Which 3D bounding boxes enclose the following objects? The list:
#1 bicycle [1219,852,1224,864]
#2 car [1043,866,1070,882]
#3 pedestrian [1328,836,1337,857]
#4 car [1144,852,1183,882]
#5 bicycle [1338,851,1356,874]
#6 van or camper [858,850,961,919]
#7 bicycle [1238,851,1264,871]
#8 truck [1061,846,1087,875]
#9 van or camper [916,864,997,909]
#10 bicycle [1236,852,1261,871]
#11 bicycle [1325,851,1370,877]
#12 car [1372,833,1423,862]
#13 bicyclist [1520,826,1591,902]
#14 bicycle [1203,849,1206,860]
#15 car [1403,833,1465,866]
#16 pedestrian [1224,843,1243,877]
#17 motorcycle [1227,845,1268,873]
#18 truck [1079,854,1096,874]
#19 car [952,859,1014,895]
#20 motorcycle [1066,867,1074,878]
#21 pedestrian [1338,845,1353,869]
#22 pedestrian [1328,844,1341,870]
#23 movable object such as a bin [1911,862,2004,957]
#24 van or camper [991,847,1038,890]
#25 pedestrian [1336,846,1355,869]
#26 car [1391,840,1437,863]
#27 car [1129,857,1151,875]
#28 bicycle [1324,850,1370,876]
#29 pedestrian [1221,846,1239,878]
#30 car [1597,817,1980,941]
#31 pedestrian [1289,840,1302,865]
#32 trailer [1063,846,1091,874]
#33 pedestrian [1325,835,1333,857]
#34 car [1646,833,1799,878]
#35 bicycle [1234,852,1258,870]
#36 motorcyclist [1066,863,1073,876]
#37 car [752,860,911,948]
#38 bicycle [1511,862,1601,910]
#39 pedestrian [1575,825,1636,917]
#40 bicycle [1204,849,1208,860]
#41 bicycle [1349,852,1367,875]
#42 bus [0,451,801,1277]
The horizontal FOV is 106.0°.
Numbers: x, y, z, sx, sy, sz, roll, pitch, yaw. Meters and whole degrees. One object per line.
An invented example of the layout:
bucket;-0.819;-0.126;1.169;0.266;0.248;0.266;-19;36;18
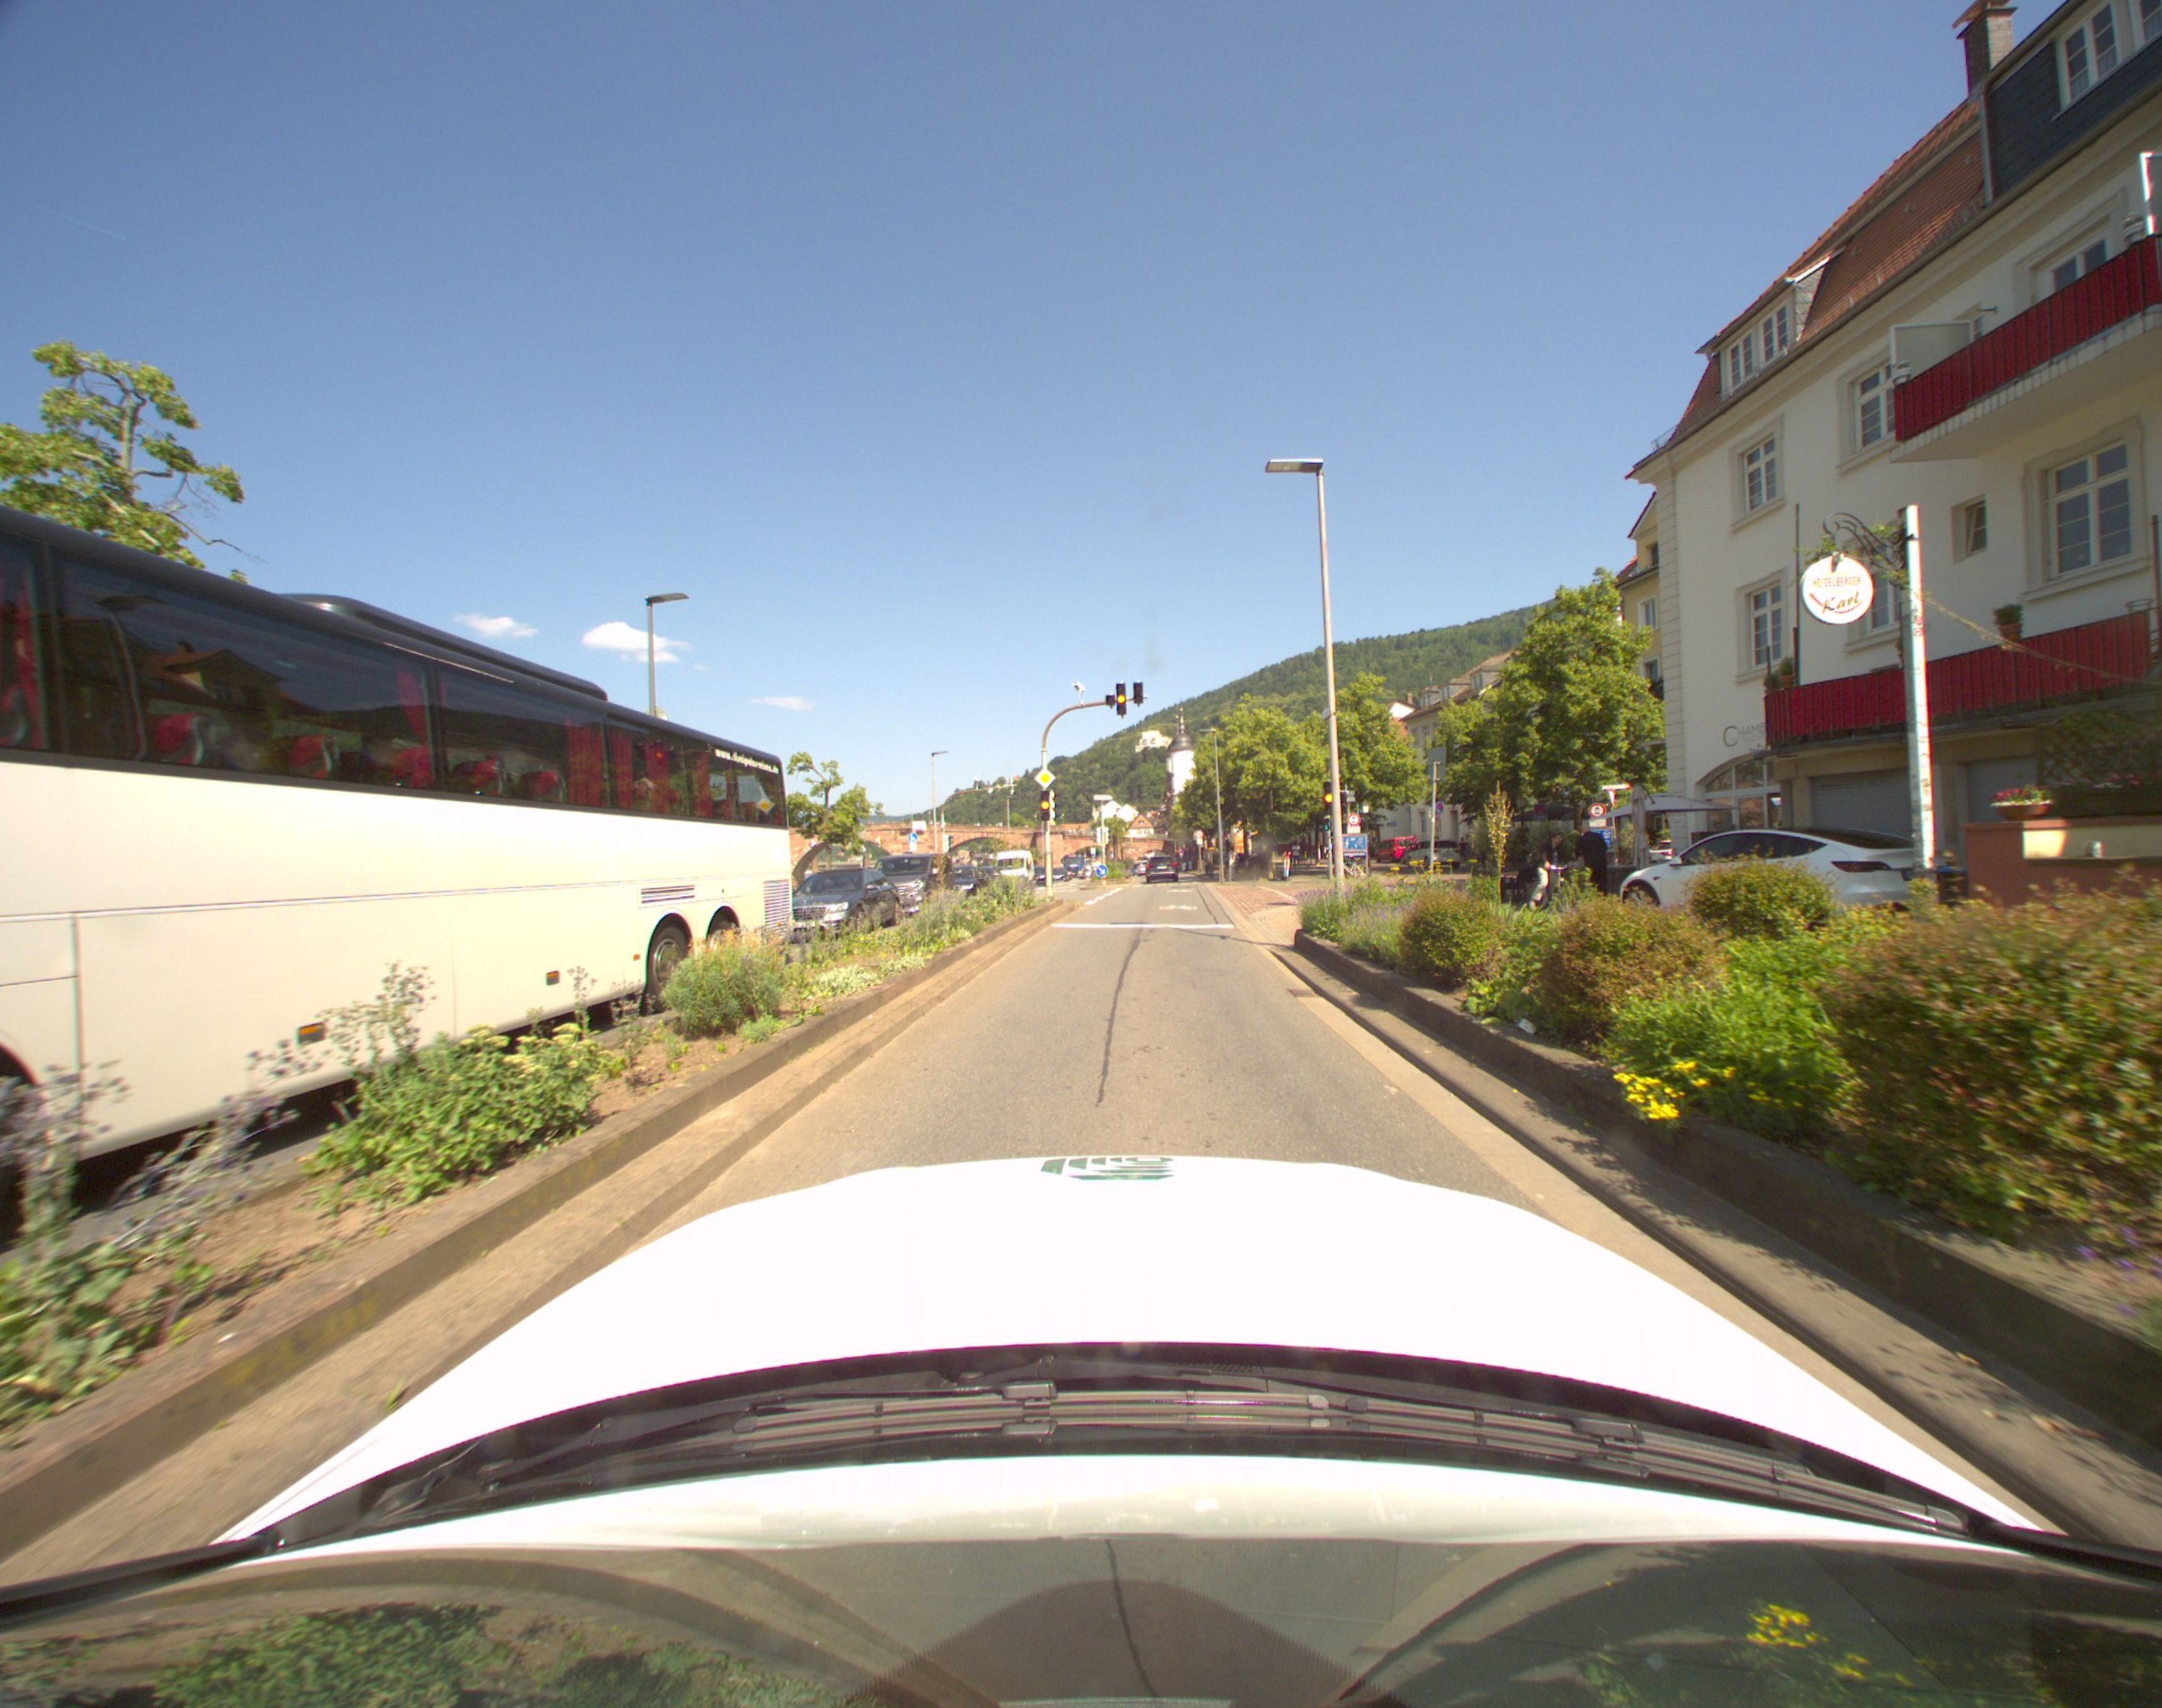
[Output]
bicycle;11.690;0.360;67.894;0.249;1.000;1.490;-1;-1;3
car;-2.341;1.944;79.274;1.943;1.413;4.225;-5;-2;5
pedestrian;22.320;-0.632;72.327;0.583;1.840;0.597;-3;0;3
car;4.629;0.717;46.284;1.918;1.553;4.835;-2;-1;3
bicycle;13.009;0.408;39.808;0.589;1.067;2.077;-3;-1;23
van or camper;-5.363;0.904;26.184;1.986;1.873;5.181;-3;0;1
bicycle;10.324;0.433;49.393;1.478;1.120;0.294;-4;-1;2
truck;-0.777;0.767;99.962;2.646;3.403;4.455;-2;0;4
van or camper;-4.766;1.203;31.991;1.985;1.477;5.070;-4;-1;4
bicycle;10.403;0.463;50.569;1.480;1.120;0.294;-4;-1;-2
bicycle;12.427;0.462;37.968;1.983;1.198;0.524;0;0;16
car;22.918;-0.449;59.124;1.986;1.902;4.636;-2;0;2
bicyclist;10.280;0.212;17.668;0.766;1.583;1.085;-2;-1;-10
bicycle;12.638;0.062;83.402;0.249;1.096;1.490;-1;-1;4
car;20.190;-0.250;46.774;1.761;1.728;4.573;-2;0;4
pedestrian;8.255;0.321;44.093;0.692;1.771;0.763;-4;0;-4
motorcycle;9.806;0.307;48.077;2.270;1.465;0.769;-5;-2;45
truck;1.089;1.701;141.257;2.648;3.403;5.137;-2;0;2
car;-4.562;1.047;38.567;1.944;1.409;4.575;-5;-1;4
motorcycle;-1.243;2.075;89.421;0.754;1.131;2.456;-2;0;1
pedestrian;15.137;0.187;46.576;0.624;1.382;0.541;0;-1;-4
pedestrian;14.634;0.164;46.974;0.458;1.517;0.689;-1;0;-4
movable object such as a bin;10.378;0.648;9.649;0.638;1.067;0.365;-2;-1;4
van or camper;-4.099;0.912;51.307;1.985;2.450;5.500;-4;-1;4
pedestrian;14.865;0.214;45.772;0.692;1.252;0.763;-3;0;-4
car;22.103;-0.144;54.236;1.668;1.432;3.473;-2;-1;2
car;5.643;1.172;78.302;1.984;1.553;4.838;-2;0;4
bicycle;12.552;0.417;38.464;1.996;1.198;0.524;-1;0;16
pedestrian;8.110;0.429;44.484;0.692;1.677;0.763;-4;0;-4
car;10.937;0.345;13.207;1.874;1.577;4.719;-2;0;-4
pedestrian;14.791;-0.101;56.082;0.704;1.653;0.708;-3;0;4
trailer;-0.427;0.746;104.329;2.645;3.403;8.837;-2;0;4
pedestrian;22.786;-0.715;74.808;0.583;2.013;0.597;-2;0;3
car;22.645;0.026;28.871;3.969;1.455;1.835;-1;1;3
bicycle;10.713;0.457;52.916;1.480;1.120;0.251;-4;-1;-2
motorcyclist;-1.255;1.701;89.468;0.733;1.470;1.011;-2;-1;1
car;-5.607;1.041;19.141;1.987;1.598;5.156;-5;0;0
bicycle;10.298;0.668;17.734;0.749;0.964;1.777;-2;-1;-7
pedestrian;10.959;0.348;17.031;0.760;1.858;0.609;-4;0;-4
bicycle;12.501;0.069;81.477;0.249;1.096;1.490;-1;-1;4
bicycle;13.454;0.468;39.531;0.589;1.067;2.077;-3;-2;23
bus;-5.964;0.123;6.821;2.623;3.564;12.980;-2;-1;0
